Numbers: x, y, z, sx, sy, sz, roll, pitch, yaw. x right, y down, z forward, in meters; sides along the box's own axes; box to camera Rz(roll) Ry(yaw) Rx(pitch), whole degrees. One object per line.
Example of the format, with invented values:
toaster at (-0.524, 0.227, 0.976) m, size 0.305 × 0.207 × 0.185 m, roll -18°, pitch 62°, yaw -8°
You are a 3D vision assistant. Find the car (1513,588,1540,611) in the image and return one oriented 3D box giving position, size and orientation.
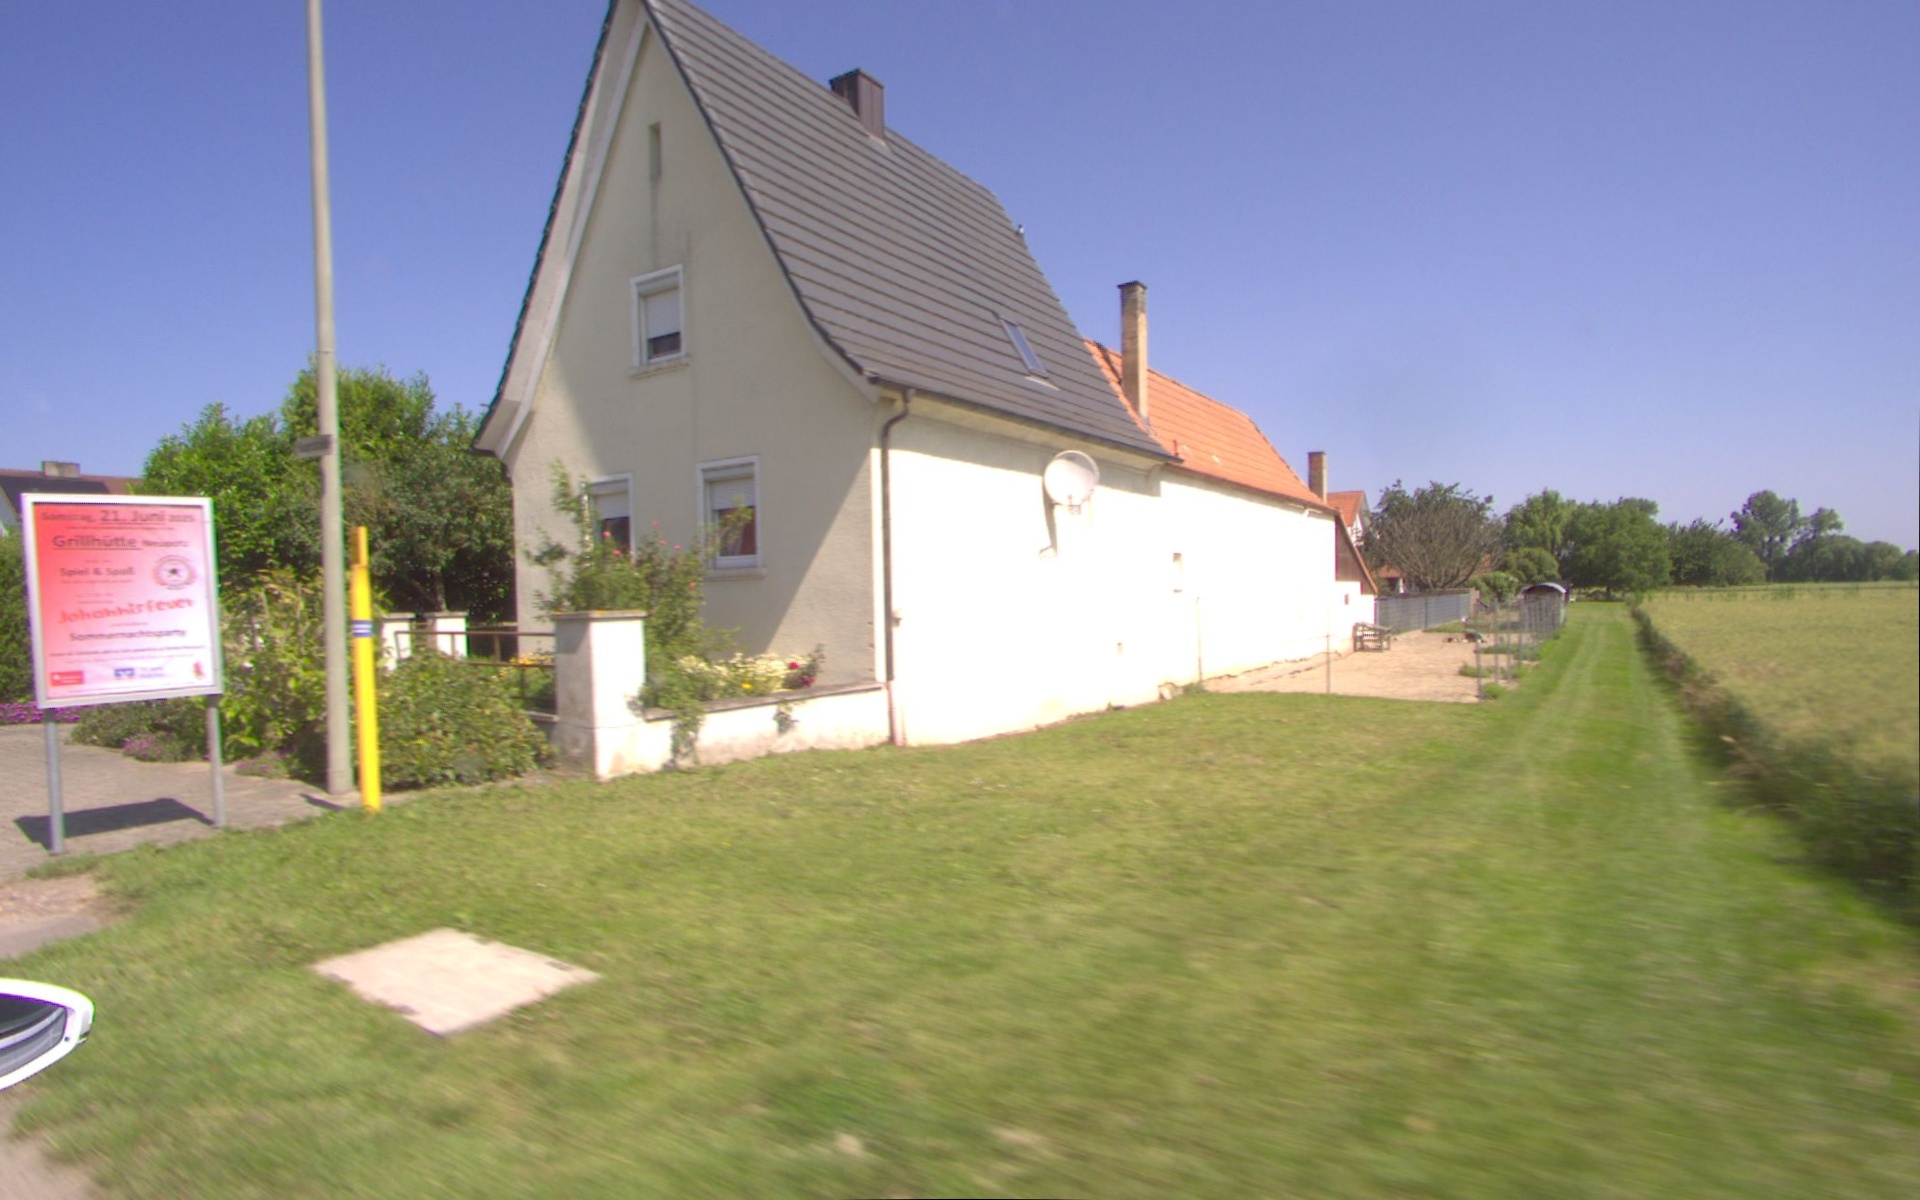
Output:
car at (50.362, -0.024, 88.976) m, size 1.881 × 1.972 × 4.283 m, roll -1°, pitch -1°, yaw 33°
